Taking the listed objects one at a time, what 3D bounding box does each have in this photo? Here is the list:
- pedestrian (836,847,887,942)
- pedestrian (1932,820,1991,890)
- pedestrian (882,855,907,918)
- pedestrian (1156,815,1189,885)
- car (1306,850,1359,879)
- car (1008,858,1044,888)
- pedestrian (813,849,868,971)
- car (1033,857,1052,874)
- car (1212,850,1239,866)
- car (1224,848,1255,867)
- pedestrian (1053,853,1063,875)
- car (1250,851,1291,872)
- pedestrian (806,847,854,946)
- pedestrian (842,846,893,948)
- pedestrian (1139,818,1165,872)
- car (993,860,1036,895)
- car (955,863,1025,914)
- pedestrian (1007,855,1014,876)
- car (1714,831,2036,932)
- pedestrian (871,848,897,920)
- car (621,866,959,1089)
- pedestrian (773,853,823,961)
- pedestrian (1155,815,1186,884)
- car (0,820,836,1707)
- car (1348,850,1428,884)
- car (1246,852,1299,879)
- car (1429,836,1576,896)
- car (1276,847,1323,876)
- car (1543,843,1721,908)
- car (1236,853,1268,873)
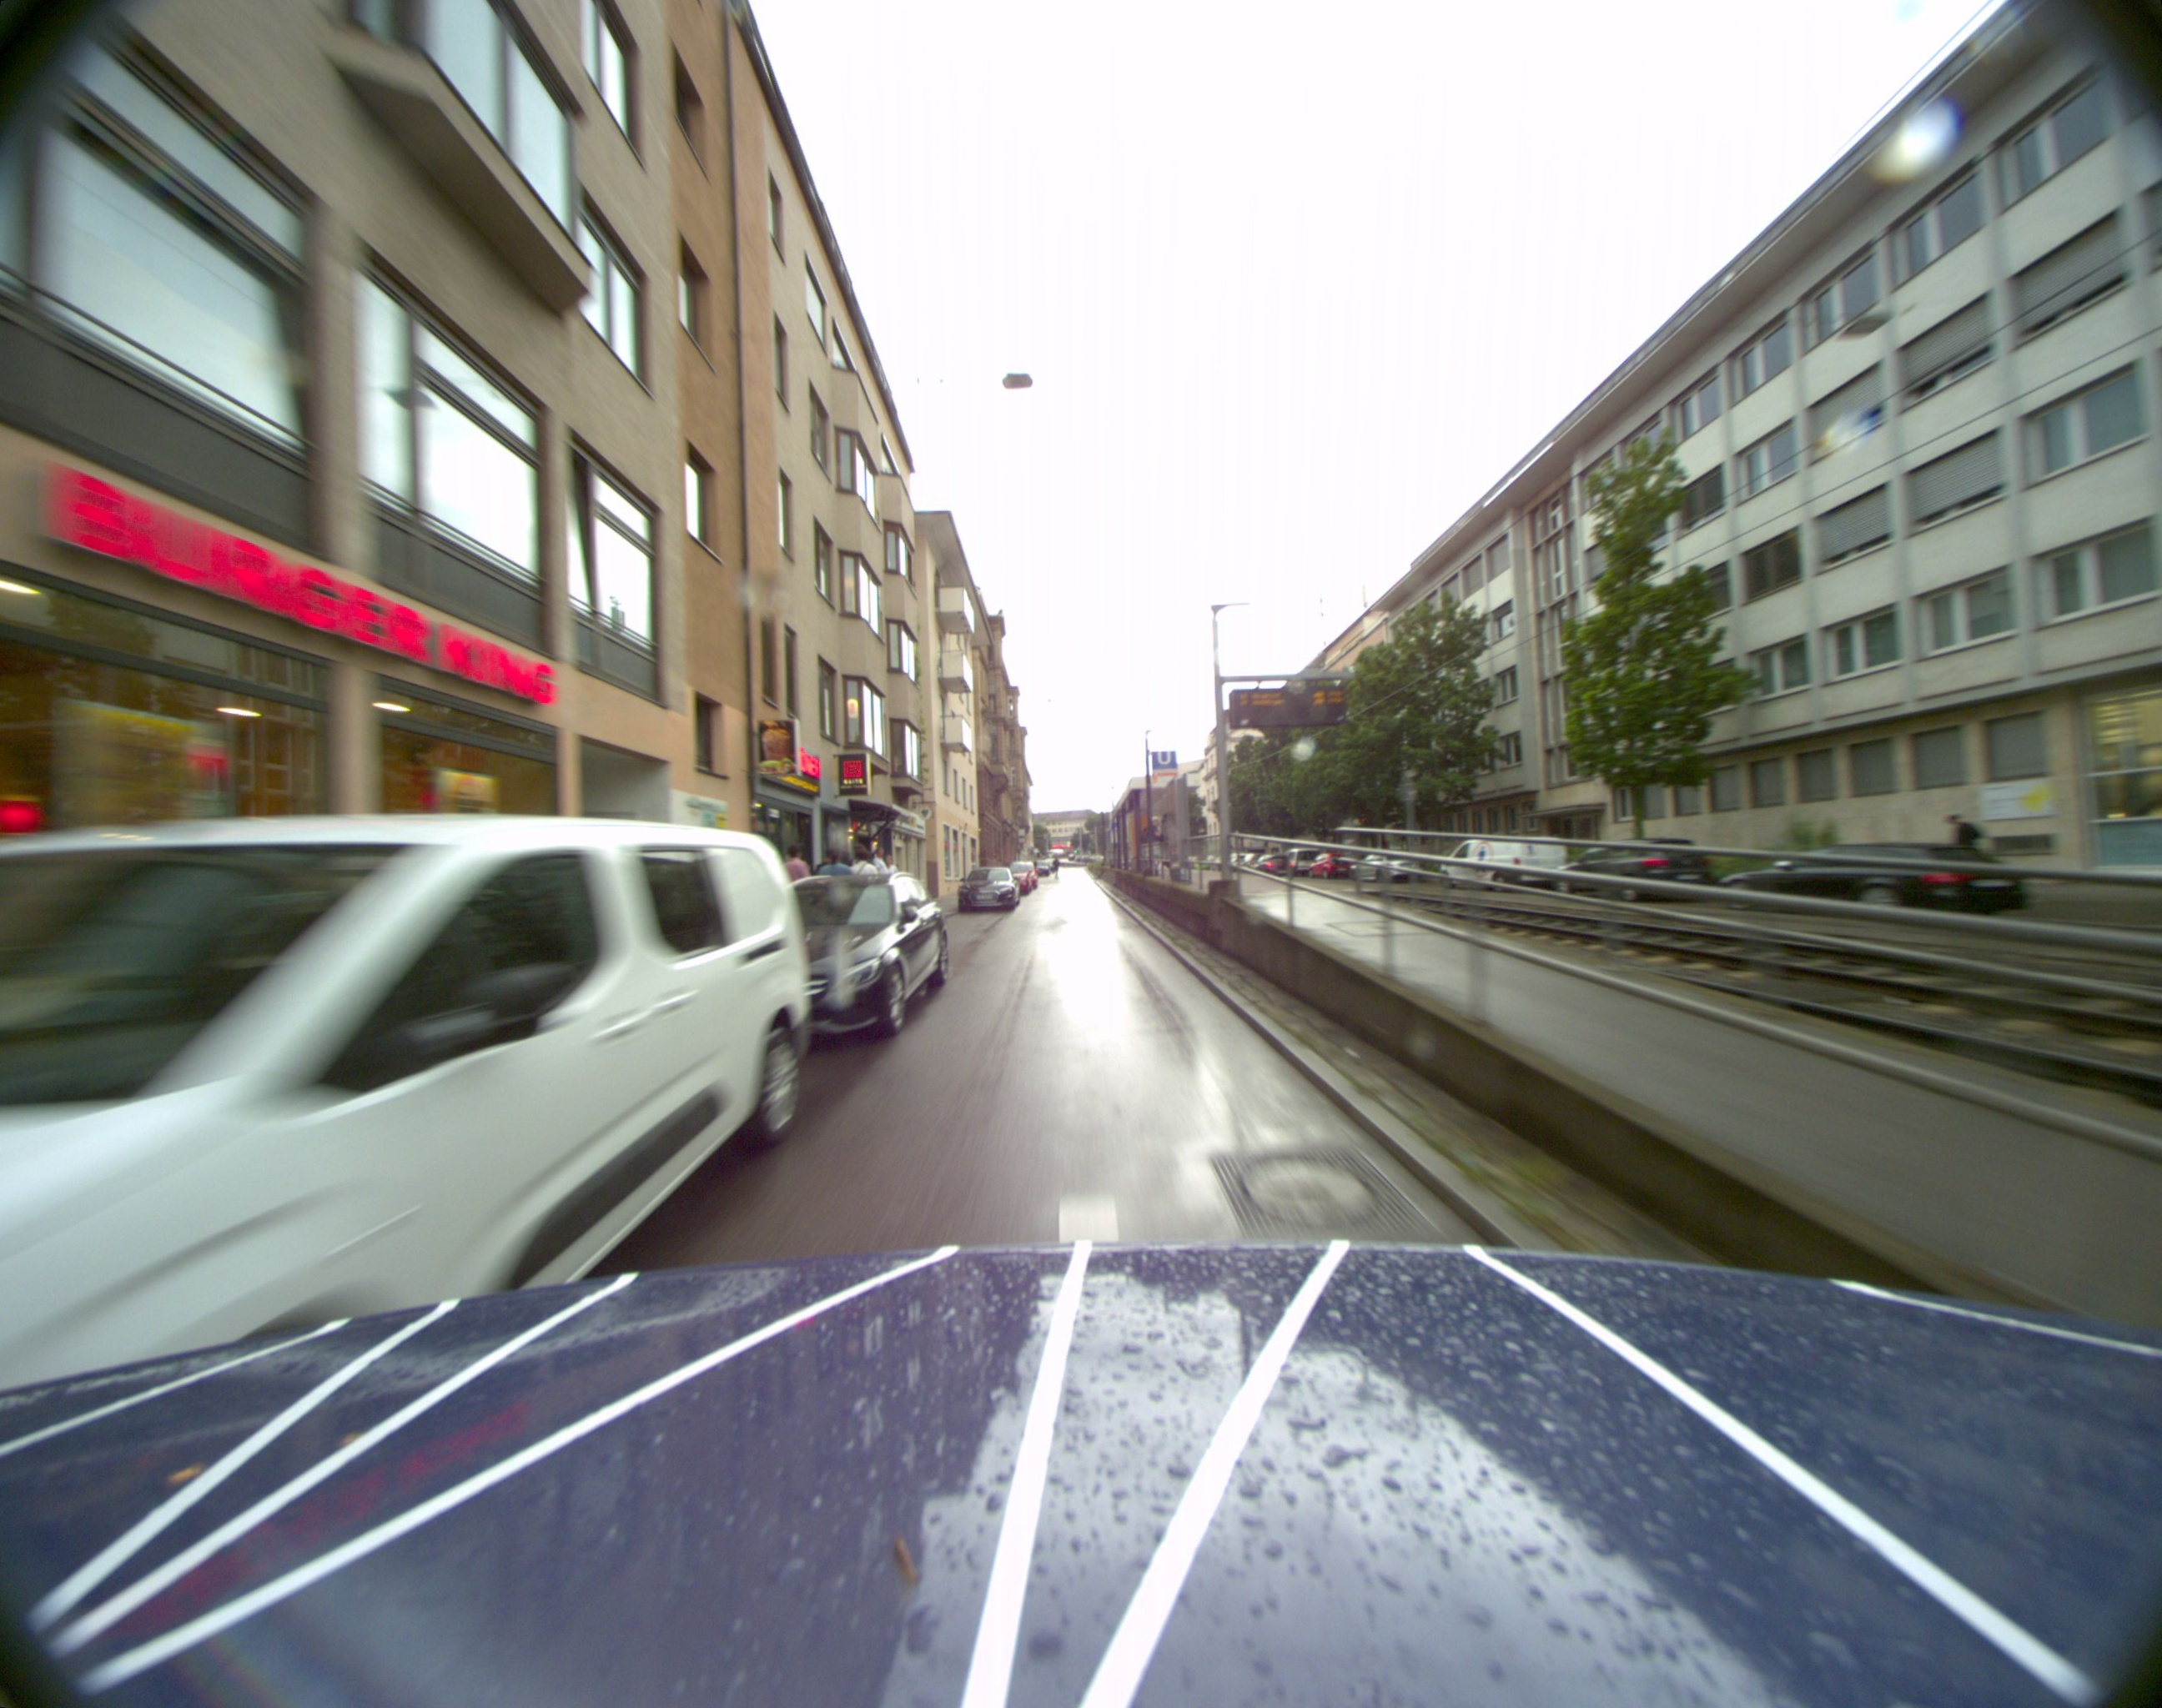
[{"bbox_3d":[-4.285,0.779,14.855,0.758,1.808,0.588,-2,1,0],"label":"pedestrian"},{"bbox_3d":[20.144,0.019,17.397,0.701,1.548,0.585,-2,1,-7],"label":"pedestrian"},{"bbox_3d":[-5.078,0.879,20.716,0.546,1.671,0.595,-2,1,-8],"label":"pedestrian"},{"bbox_3d":[2.082,-0.092,17.340,0.585,1.548,0.701,-2,1,-3],"label":"pedestrian"},{"bbox_3d":[14.450,0.565,43.897,1.643,1.530,3.803,-2,0,-2],"label":"car"},{"bbox_3d":[-2.988,1.010,41.746,1.720,1.453,3.444,-2,0,0],"label":"car"},{"bbox_3d":[-3.920,0.893,12.419,0.653,1.937,0.533,-2,1,0],"label":"pedestrian"},{"bbox_3d":[-3.456,1.031,69.036,1.628,1.343,3.828,-2,0,-2],"label":"car"},{"bbox_3d":[13.747,0.381,72.569,1.718,1.367,4.457,-2,0,1],"label":"car"},{"bbox_3d":[13.892,0.297,66.875,1.662,1.575,4.337,-2,0,-2],"label":"car"},{"bbox_3d":[-1.812,0.785,59.499,0.653,1.752,0.882,-2,1,-5],"label":"pedestrian"},{"bbox_3d":[13.850,0.516,55.650,1.643,1.432,4.729,-2,0,-2],"label":"car"},{"bbox_3d":[-4.441,0.733,13.480,0.612,1.704,0.581,-2,1,1],"label":"pedestrian"},{"bbox_3d":[-3.944,0.778,14.076,0.697,1.844,0.652,-2,1,1],"label":"pedestrian"},{"bbox_3d":[2.300,-0.290,24.588,0.713,1.684,0.701,-2,1,-3],"label":"pedestrian"},{"bbox_3d":[-3.043,1.040,35.425,1.649,1.453,3.413,-2,0,0],"label":"car"},{"bbox_3d":[-3.025,1.115,26.057,1.911,1.453,4.244,-2,0,-1],"label":"car"},{"bbox_3d":[-5.569,0.901,60.110,0.489,1.635,0.630,-2,1,-5],"label":"pedestrian"},{"bbox_3d":[14.906,0.447,14.704,1.643,1.614,4.370,-2,0,0],"label":"car"},{"bbox_3d":[-5.168,0.782,19.944,0.530,1.848,0.556,-2,1,-8],"label":"pedestrian"},{"bbox_3d":[-2.645,1.007,8.203,1.911,1.606,4.413,-2,0,0],"label":"car"},{"bbox_3d":[-4.584,0.844,12.337,0.577,1.704,0.477,-2,1,0],"label":"pedestrian"},{"bbox_3d":[2.121,-0.114,18.050,0.585,1.600,0.701,-2,1,-3],"label":"pedestrian"},{"bbox_3d":[-2.493,0.878,2.552,1.912,1.796,4.776,-2,0,-3],"label":"car"},{"bbox_3d":[14.378,0.561,35.887,1.696,1.453,4.529,-2,0,-4],"label":"car"},{"bbox_3d":[11.291,0.650,45.137,1.696,1.453,4.529,-2,0,-4],"label":"car"},{"bbox_3d":[14.632,0.381,26.837,1.912,1.834,5.255,-2,0,-5],"label":"car"},{"bbox_3d":[14.233,0.463,49.735,1.678,1.806,4.431,-2,0,-2],"label":"car"},{"bbox_3d":[14.743,0.517,20.688,1.643,1.527,4.370,-2,0,0],"label":"car"},{"bbox_3d":[13.585,0.686,60.575,1.643,1.529,4.022,-2,0,0],"label":"car"}]
